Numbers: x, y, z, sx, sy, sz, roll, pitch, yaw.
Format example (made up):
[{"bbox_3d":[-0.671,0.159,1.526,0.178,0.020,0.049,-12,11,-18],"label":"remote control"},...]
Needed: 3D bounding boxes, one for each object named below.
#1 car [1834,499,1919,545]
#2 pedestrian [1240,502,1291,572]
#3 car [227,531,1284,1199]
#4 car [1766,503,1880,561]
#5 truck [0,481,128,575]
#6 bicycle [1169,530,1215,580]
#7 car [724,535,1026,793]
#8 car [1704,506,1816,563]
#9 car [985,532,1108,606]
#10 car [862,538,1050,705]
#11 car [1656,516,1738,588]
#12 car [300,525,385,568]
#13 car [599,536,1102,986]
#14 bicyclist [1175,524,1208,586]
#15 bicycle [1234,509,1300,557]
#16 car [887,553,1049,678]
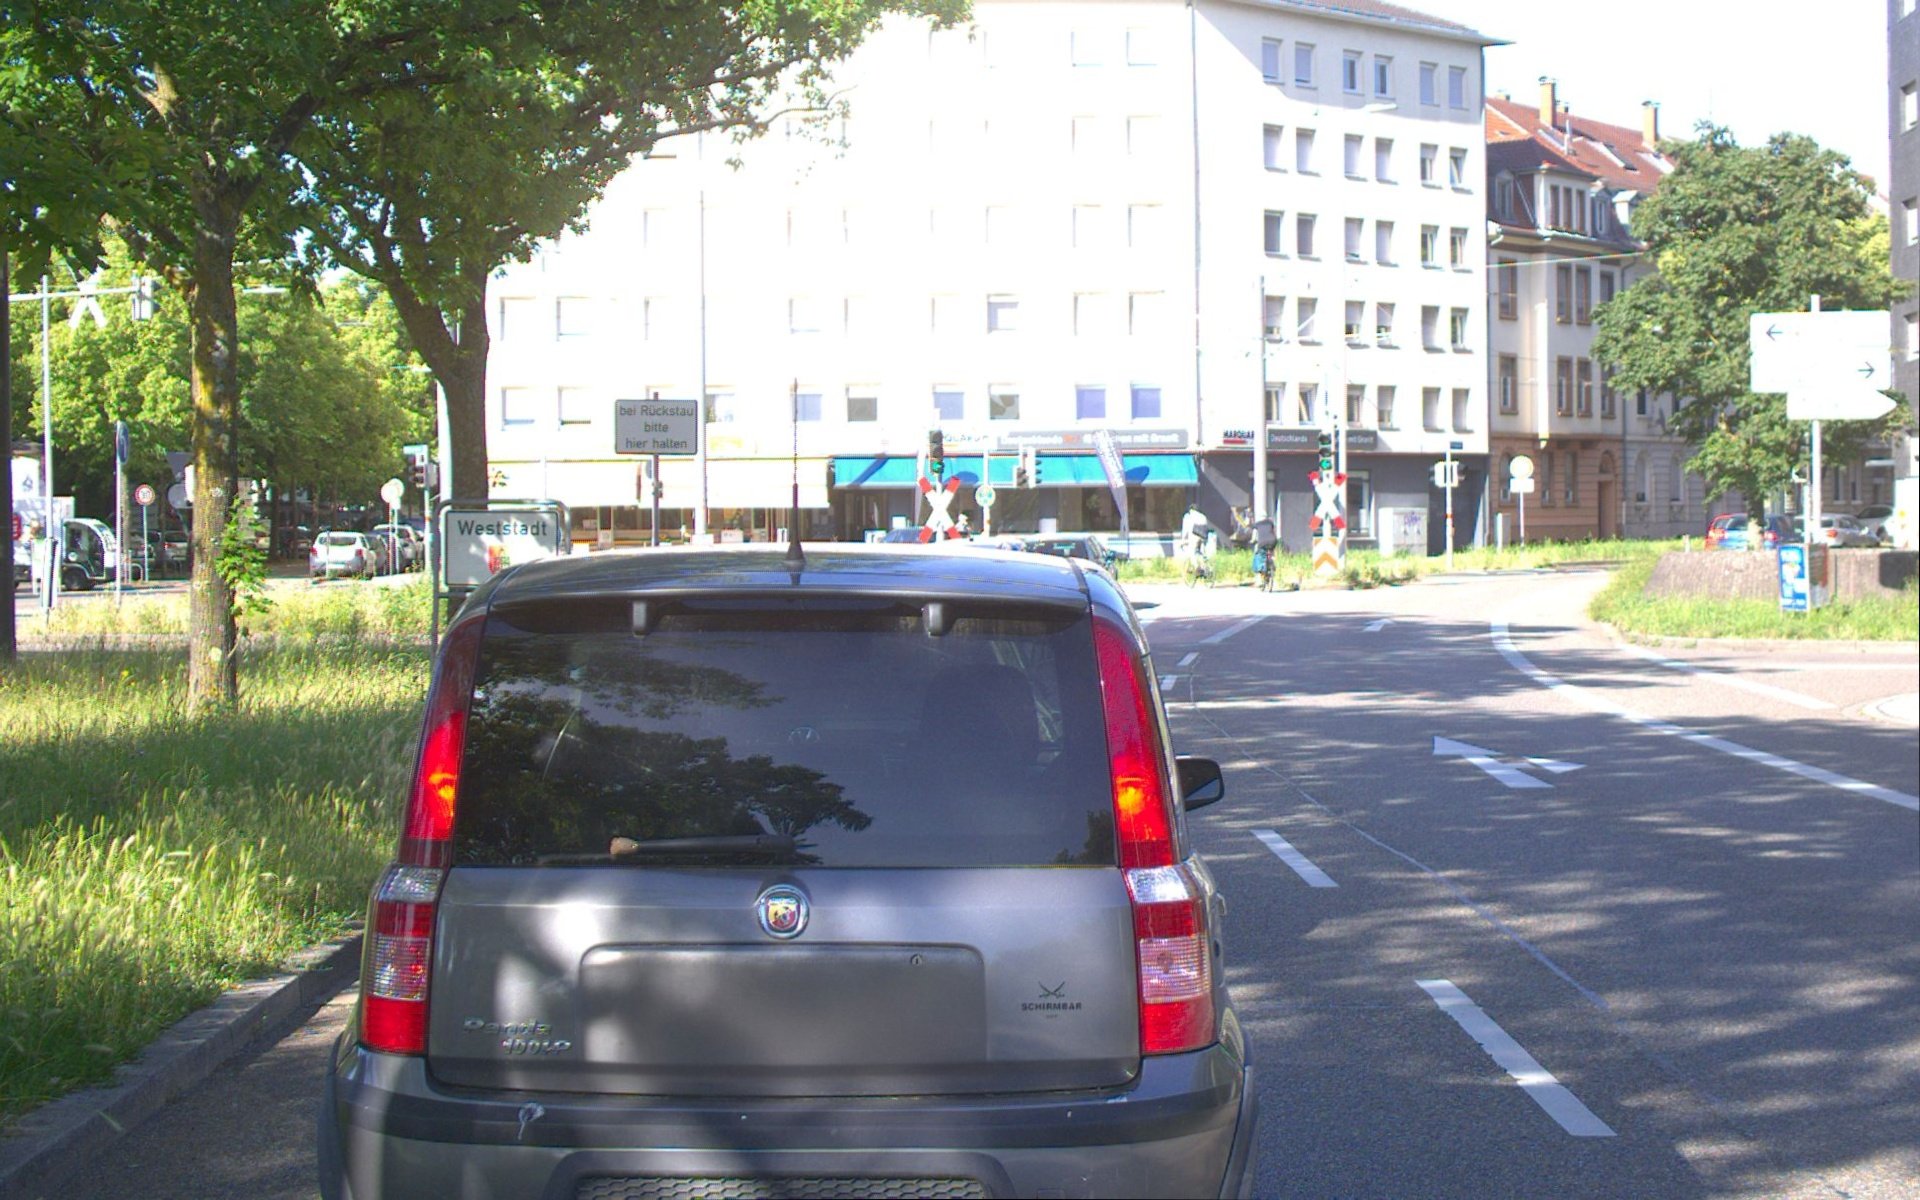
[{"bbox_3d":[32.589,-2.758,121.000,1.904,1.588,4.001,-1,2,-13],"label":"car"},{"bbox_3d":[6.262,-1.288,70.470,0.773,1.423,0.939,1,0,-14],"label":"pedestrian"},{"bbox_3d":[-0.291,0.627,7.052,1.660,1.505,3.251,-1,1,1],"label":"car"},{"bbox_3d":[23.747,-1.890,94.500,1.823,1.503,3.993,0,2,33],"label":"car"},{"bbox_3d":[-24.076,-1.893,90.186,4.096,2.418,1.794,0,1,-5],"label":"truck"},{"bbox_3d":[5.130,-1.000,76.070,0.530,1.086,1.586,-1,1,-16],"label":"bicycle"},{"bbox_3d":[-0.545,0.335,22.394,1.760,1.481,4.294,-1,1,-1],"label":"car"},{"bbox_3d":[21.049,-1.743,90.373,1.778,1.437,3.612,1,2,32],"label":"car"},{"bbox_3d":[1.575,-0.572,60.984,1.994,1.238,4.000,0,1,4],"label":"car"},{"bbox_3d":[-0.004,0.158,31.927,1.646,1.433,3.396,0,1,1],"label":"car"},{"bbox_3d":[21.170,-1.370,98.639,1.995,2.007,3.997,1,1,16],"label":"car"},{"bbox_3d":[-19.410,-1.698,108.156,1.993,1.305,4.000,-1,1,-1],"label":"car"},{"bbox_3d":[-0.375,0.489,13.023,1.621,1.424,3.688,-1,1,-1],"label":"car"},{"bbox_3d":[5.123,-1.001,76.091,0.530,1.352,0.598,-1,1,-16],"label":"bicyclist"},{"bbox_3d":[6.279,-1.363,70.350,0.782,0.948,1.857,1,1,-14],"label":"bicycle"},{"bbox_3d":[0.123,0.136,38.058,1.690,1.249,3.626,-1,1,1],"label":"car"}]
